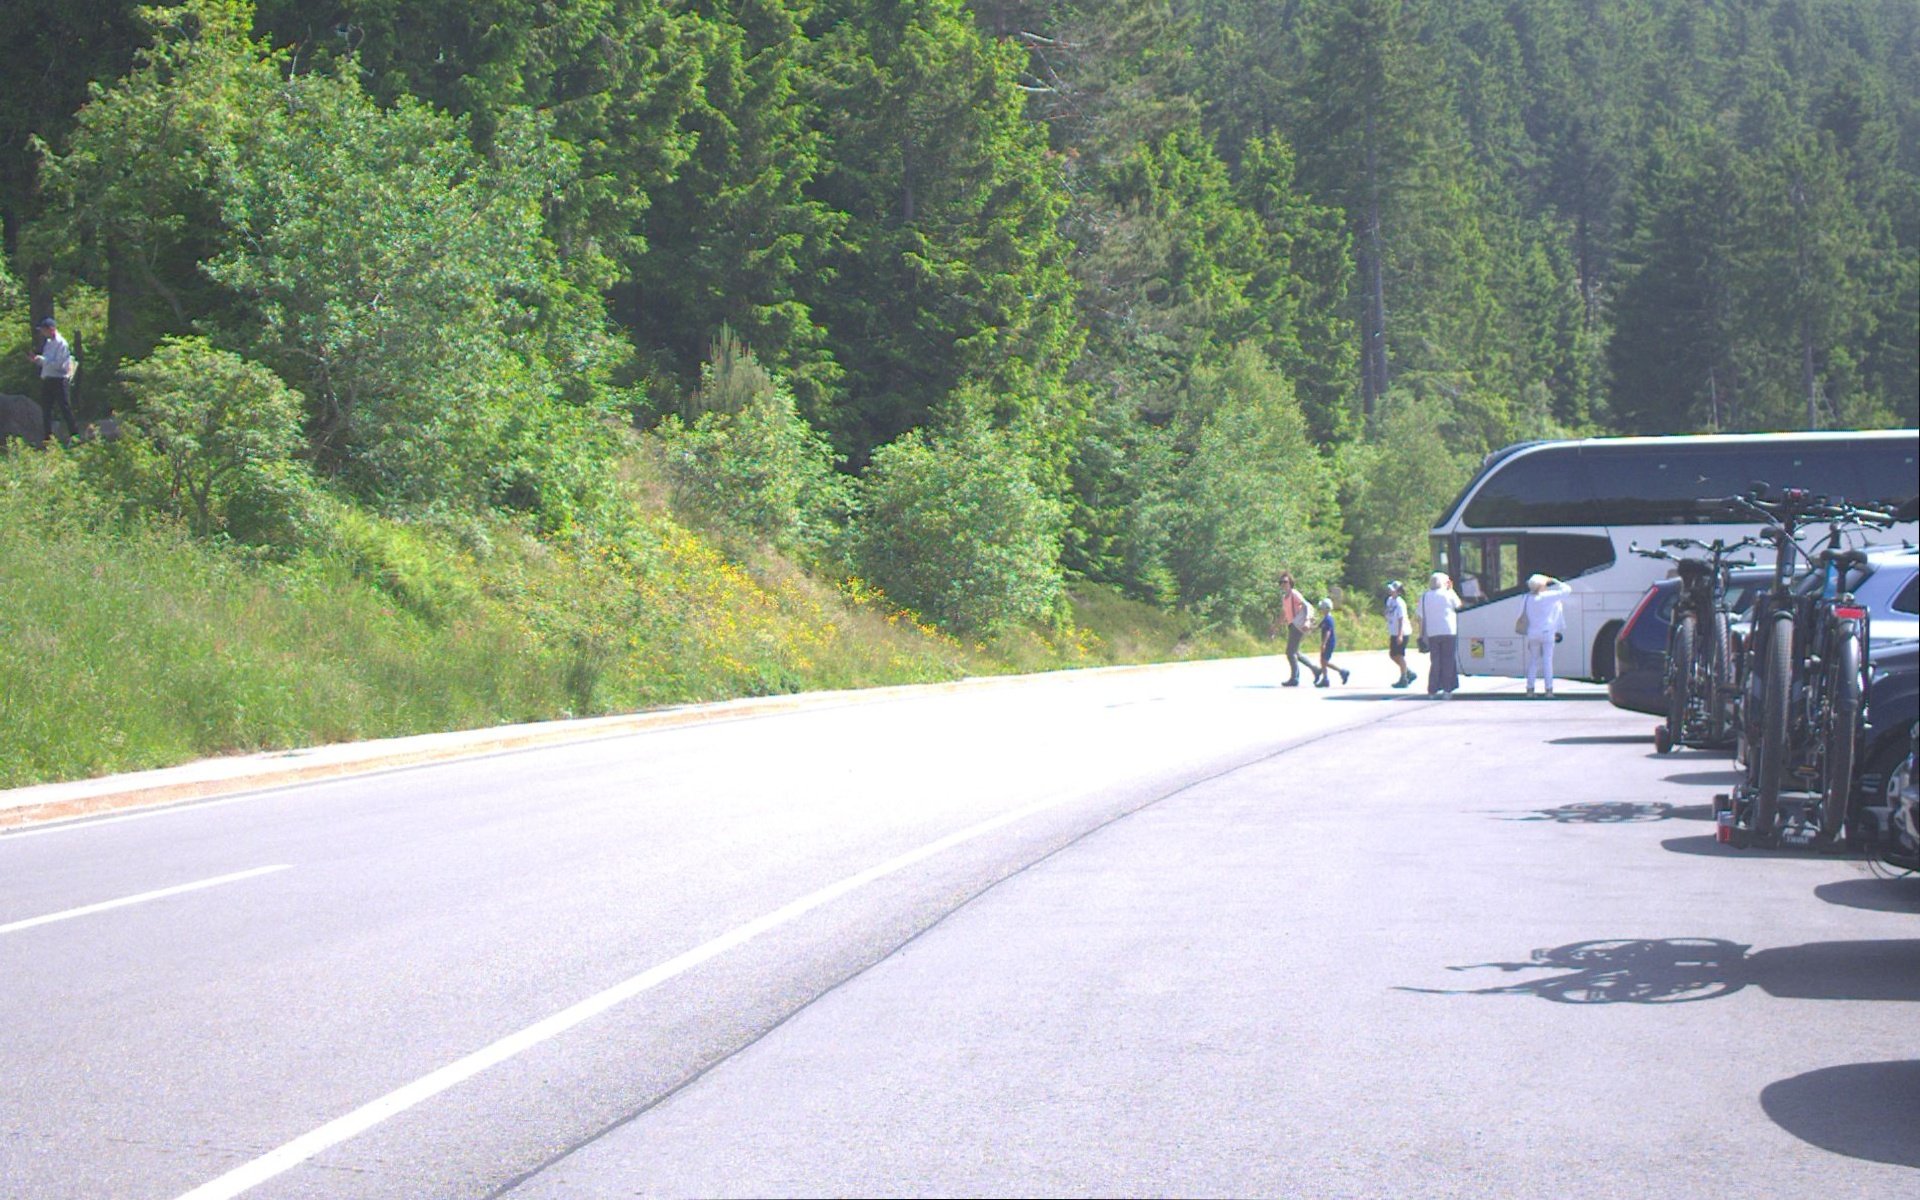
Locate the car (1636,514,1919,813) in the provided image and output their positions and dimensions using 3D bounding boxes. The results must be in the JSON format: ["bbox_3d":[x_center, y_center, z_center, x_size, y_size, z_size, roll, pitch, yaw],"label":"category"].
[{"bbox_3d":[6.567,0.301,20.072,5.036,1.645,2.047,-2,0,10],"label":"car"}]

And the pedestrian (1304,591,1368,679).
[{"bbox_3d":[5.636,0.521,51.591,0.733,1.275,0.783,-2,0,-9],"label":"pedestrian"}]

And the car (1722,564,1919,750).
[{"bbox_3d":[8.138,0.403,27.206,3.988,1.393,1.619,-2,0,10],"label":"car"}]

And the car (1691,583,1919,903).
[{"bbox_3d":[5.336,0.534,14.621,4.245,1.264,1.837,-2,0,10],"label":"car"}]

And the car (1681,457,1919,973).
[{"bbox_3d":[5.038,0.328,11.855,4.951,1.690,1.944,-1,0,12],"label":"car"}]

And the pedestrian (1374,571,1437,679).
[{"bbox_3d":[6.629,0.365,51.192,0.854,1.580,0.818,-2,0,6],"label":"pedestrian"}]

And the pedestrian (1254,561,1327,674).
[{"bbox_3d":[5.029,0.265,52.376,0.853,1.677,0.870,-2,0,-10],"label":"pedestrian"}]

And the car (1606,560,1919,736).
[{"bbox_3d":[7.798,0.394,30.473,3.988,1.444,1.860,-2,0,10],"label":"car"}]

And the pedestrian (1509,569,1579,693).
[{"bbox_3d":[7.564,0.396,44.505,0.771,1.580,0.772,-2,0,16],"label":"pedestrian"}]

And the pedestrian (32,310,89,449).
[{"bbox_3d":[-12.448,-3.054,47.584,0.680,1.871,0.542,-2,0,-15],"label":"pedestrian"}]

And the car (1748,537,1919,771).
[{"bbox_3d":[7.548,0.315,23.690,3.988,1.548,1.659,-2,0,10],"label":"car"}]

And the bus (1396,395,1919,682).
[{"bbox_3d":[12.551,-0.862,45.113,13.106,3.520,3.041,-2,0,20],"label":"bus"}]

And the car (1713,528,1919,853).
[{"bbox_3d":[6.015,0.380,17.230,4.245,1.548,1.837,-2,0,10],"label":"car"}]

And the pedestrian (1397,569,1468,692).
[{"bbox_3d":[6.186,0.392,44.988,0.771,1.580,0.772,-2,0,16],"label":"pedestrian"}]

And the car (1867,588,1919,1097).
[{"bbox_3d":[4.632,0.691,9.008,4.082,1.372,1.702,1,0,3],"label":"car"}]

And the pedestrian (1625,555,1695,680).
[{"bbox_3d":[9.056,0.224,44.456,0.770,1.580,0.772,-2,0,17],"label":"pedestrian"}]
